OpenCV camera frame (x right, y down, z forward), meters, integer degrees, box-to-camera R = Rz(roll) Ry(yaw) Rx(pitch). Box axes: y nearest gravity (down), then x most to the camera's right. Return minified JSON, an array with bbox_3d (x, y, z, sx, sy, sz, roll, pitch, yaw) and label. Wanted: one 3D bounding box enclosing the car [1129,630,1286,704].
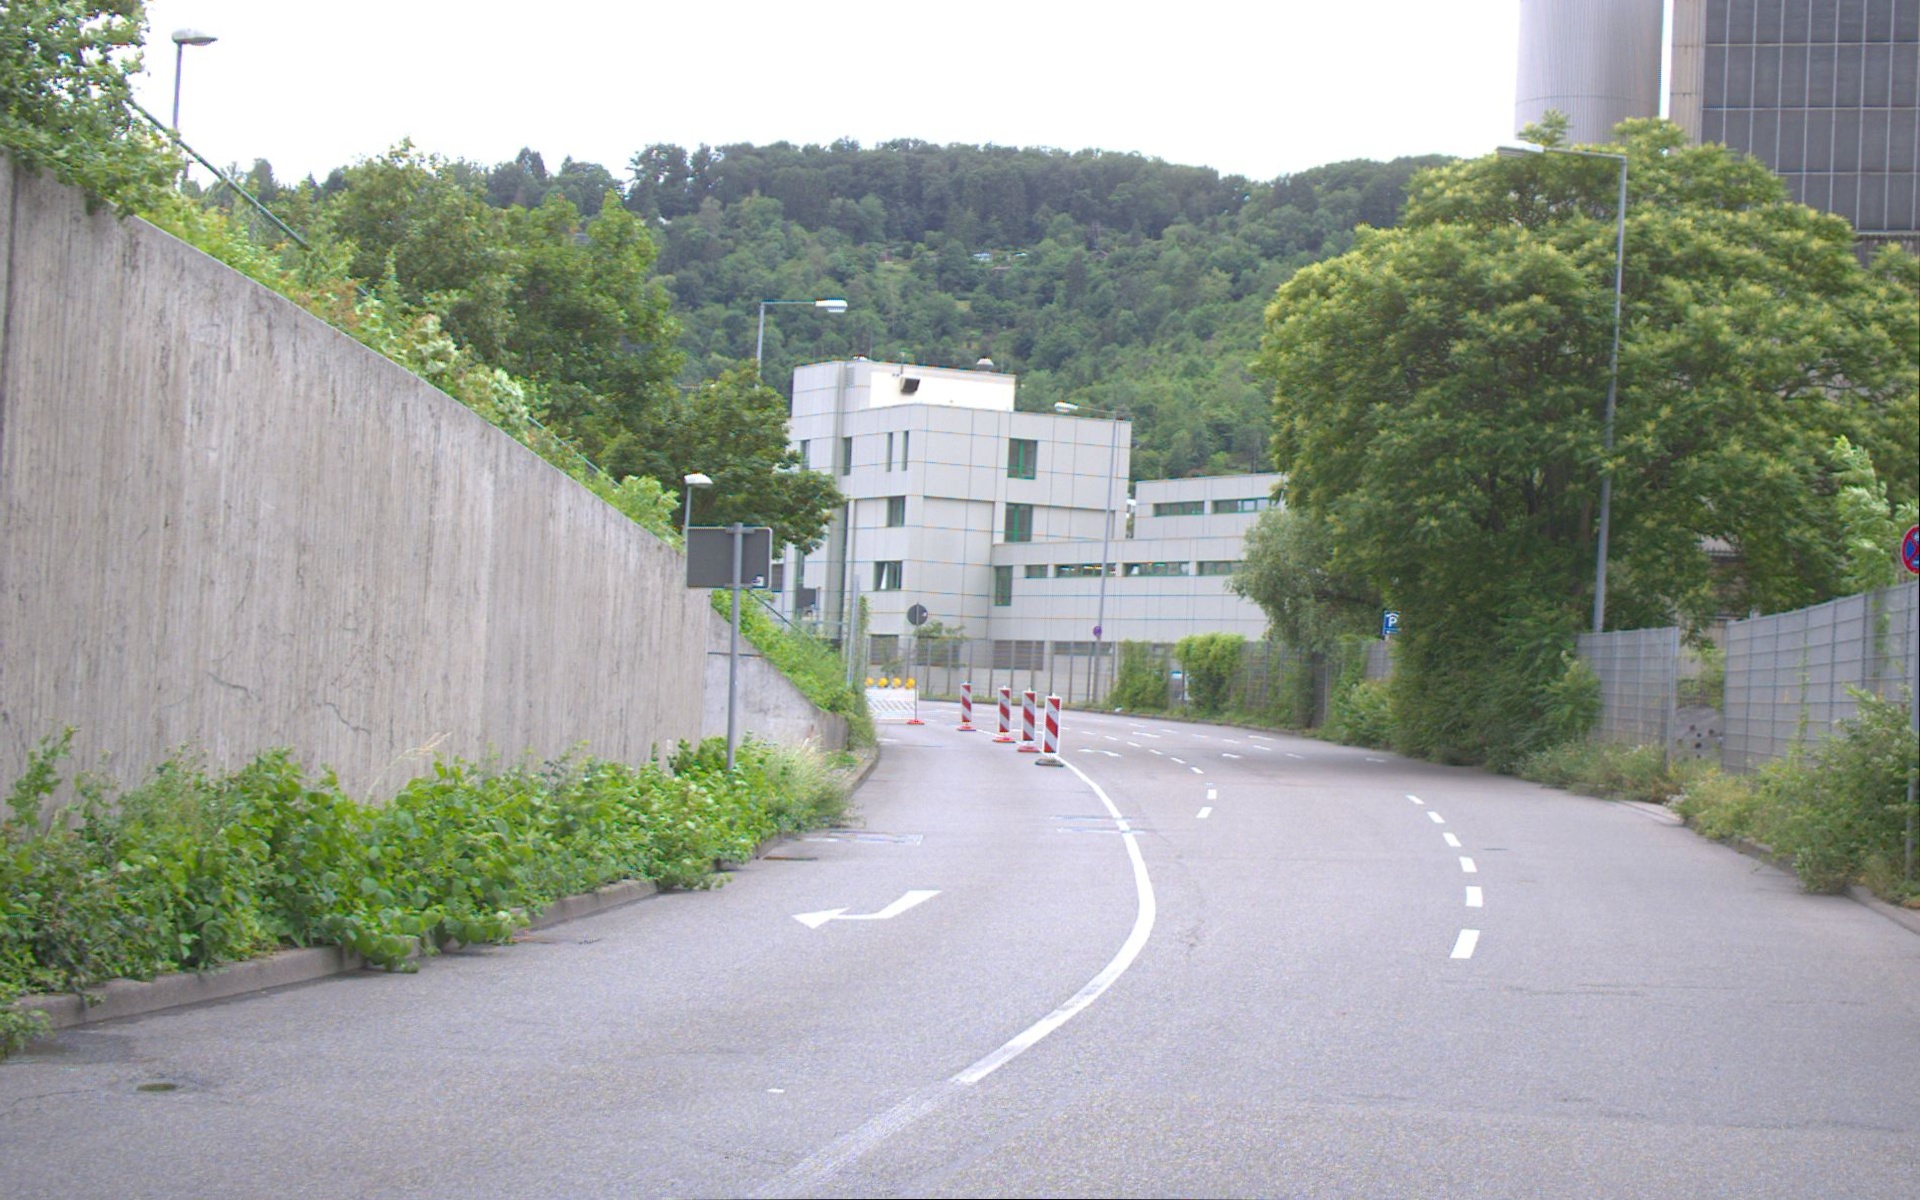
[{"bbox_3d":[9.679,2.618,135.010,1.994,2.255,6.167,6,0,-45],"label":"car"}]
